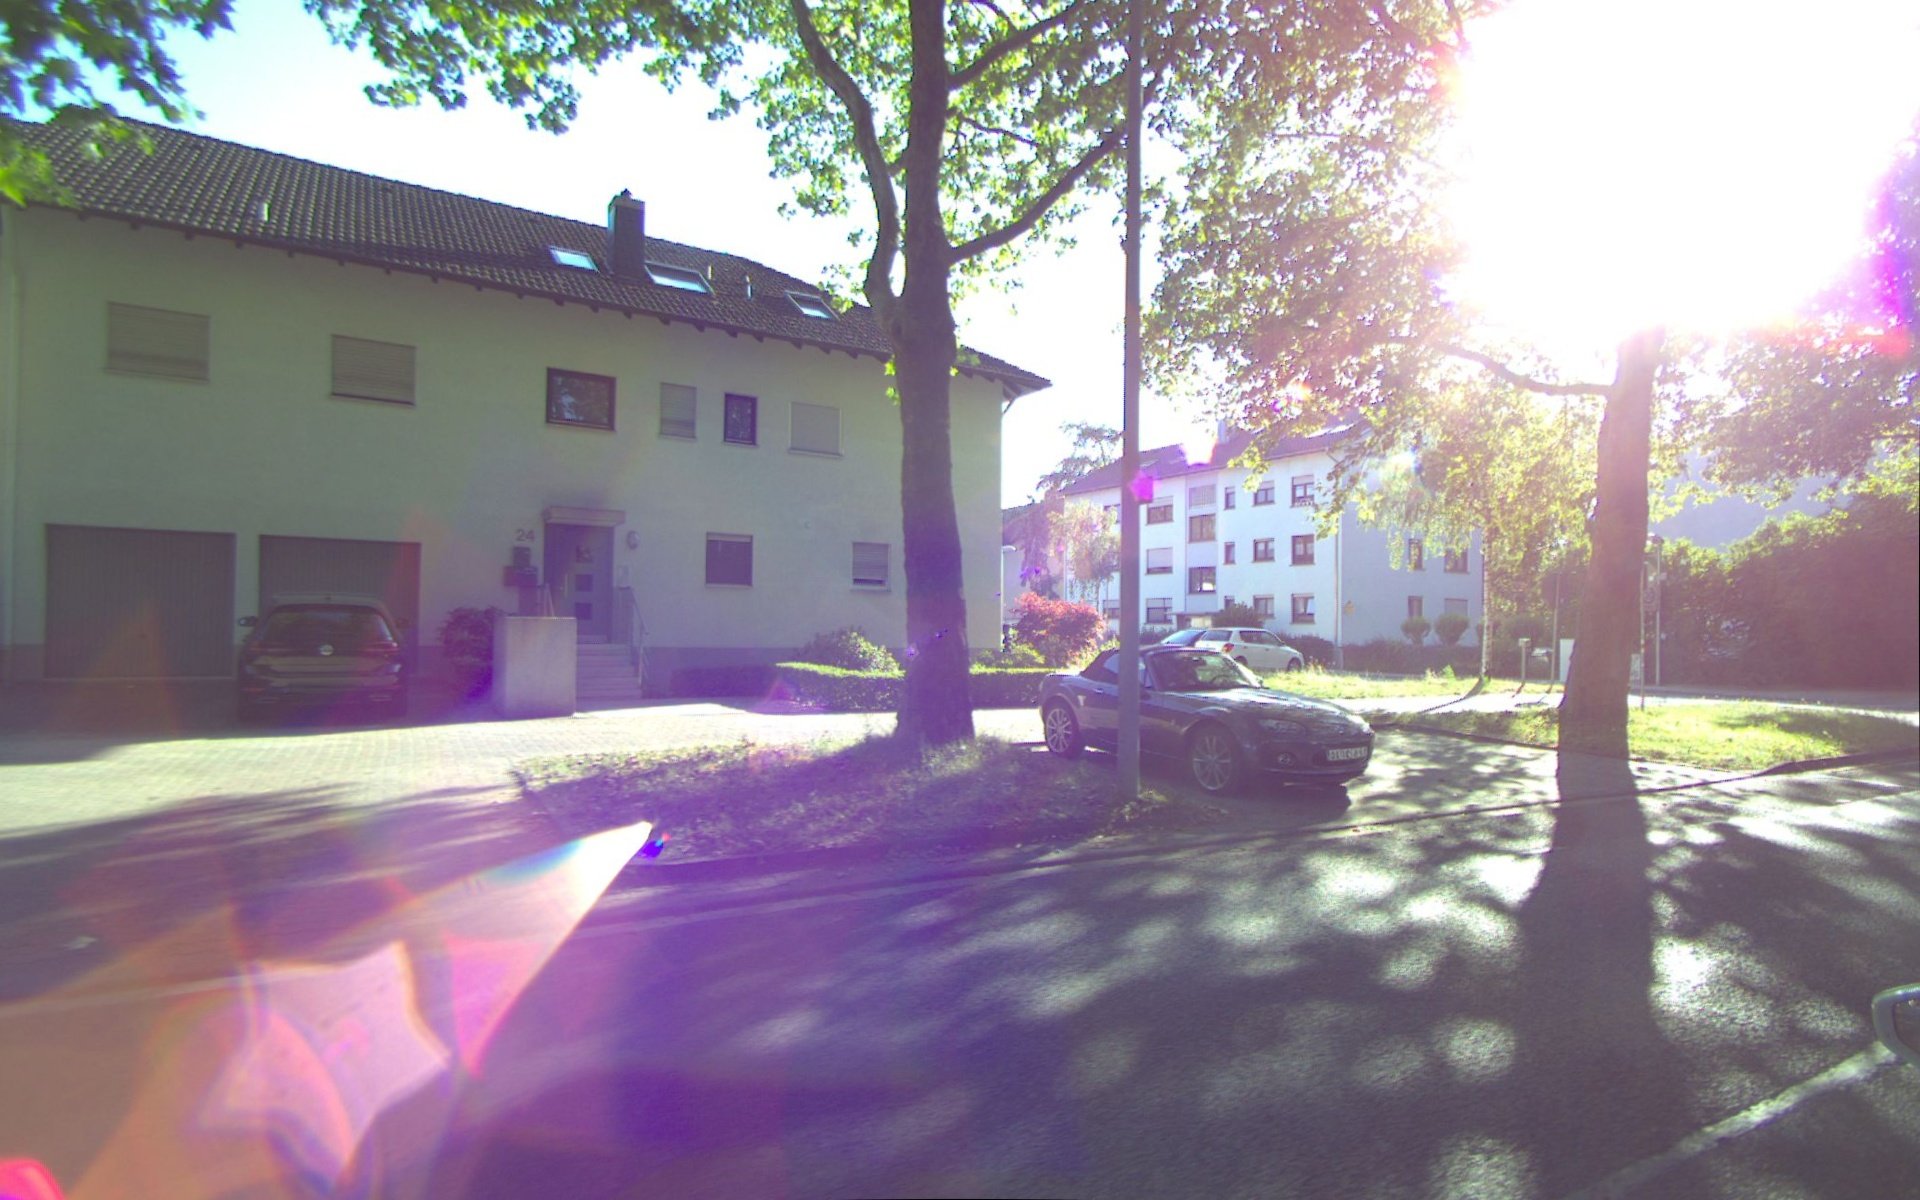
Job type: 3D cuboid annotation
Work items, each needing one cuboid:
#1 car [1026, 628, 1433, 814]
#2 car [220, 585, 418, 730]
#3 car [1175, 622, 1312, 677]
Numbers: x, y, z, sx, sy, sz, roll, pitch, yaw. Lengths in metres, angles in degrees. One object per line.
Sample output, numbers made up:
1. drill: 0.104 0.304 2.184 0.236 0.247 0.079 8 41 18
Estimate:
1. car: 2.470 1.037 10.101 1.769 1.334 3.807 2 0 -30
2. car: -8.243 0.629 13.203 1.878 1.483 3.968 2 1 -29
3. car: 8.891 1.524 31.445 3.956 1.595 1.982 2 -1 -32
